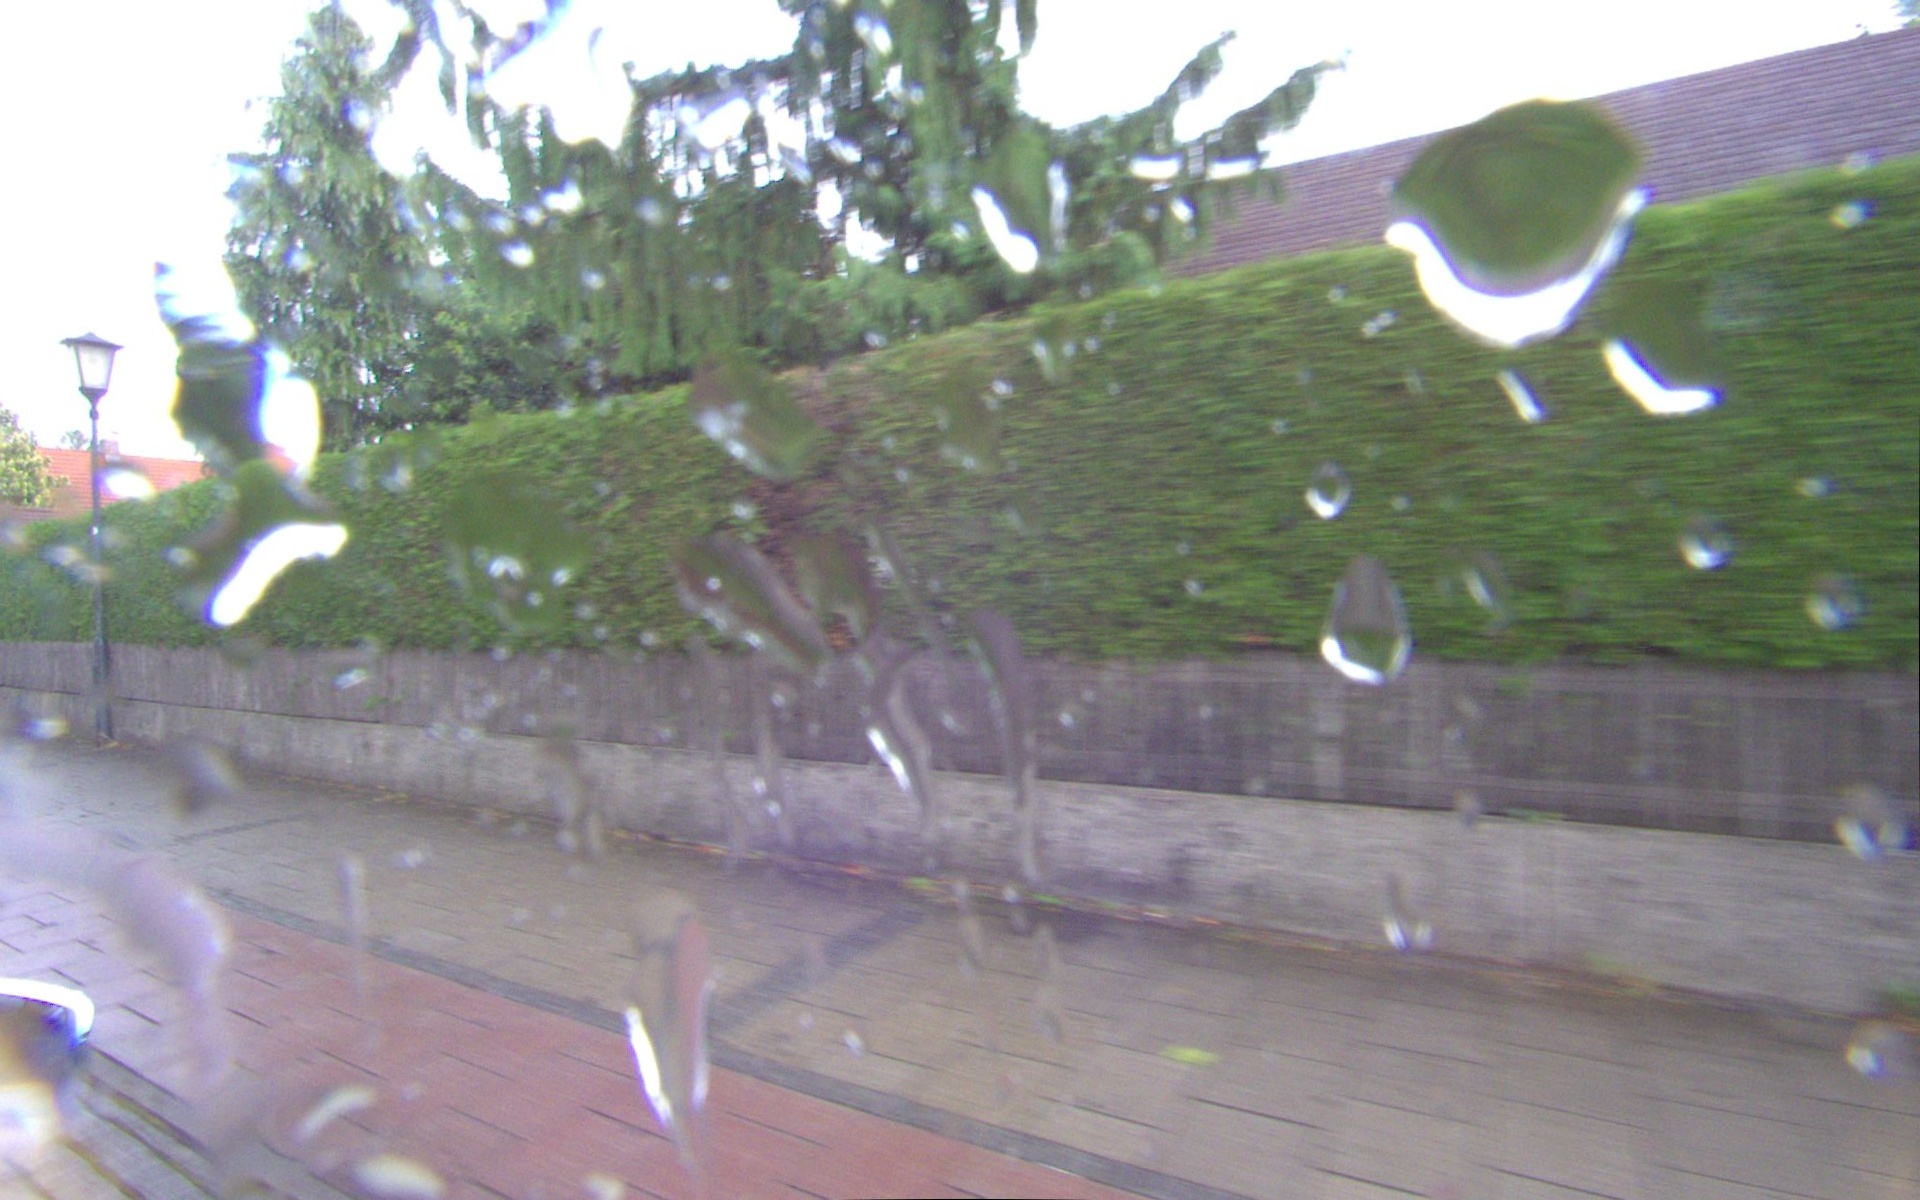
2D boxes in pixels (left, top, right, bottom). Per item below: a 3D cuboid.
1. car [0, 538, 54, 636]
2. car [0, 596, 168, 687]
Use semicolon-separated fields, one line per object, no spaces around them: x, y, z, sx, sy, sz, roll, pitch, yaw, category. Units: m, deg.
-23.904;-0.253;23.445;4.867;2.201;1.996;-1;-2;21;car
-19.454;0.827;21.050;1.669;1.776;4.086;2;2;30;car
